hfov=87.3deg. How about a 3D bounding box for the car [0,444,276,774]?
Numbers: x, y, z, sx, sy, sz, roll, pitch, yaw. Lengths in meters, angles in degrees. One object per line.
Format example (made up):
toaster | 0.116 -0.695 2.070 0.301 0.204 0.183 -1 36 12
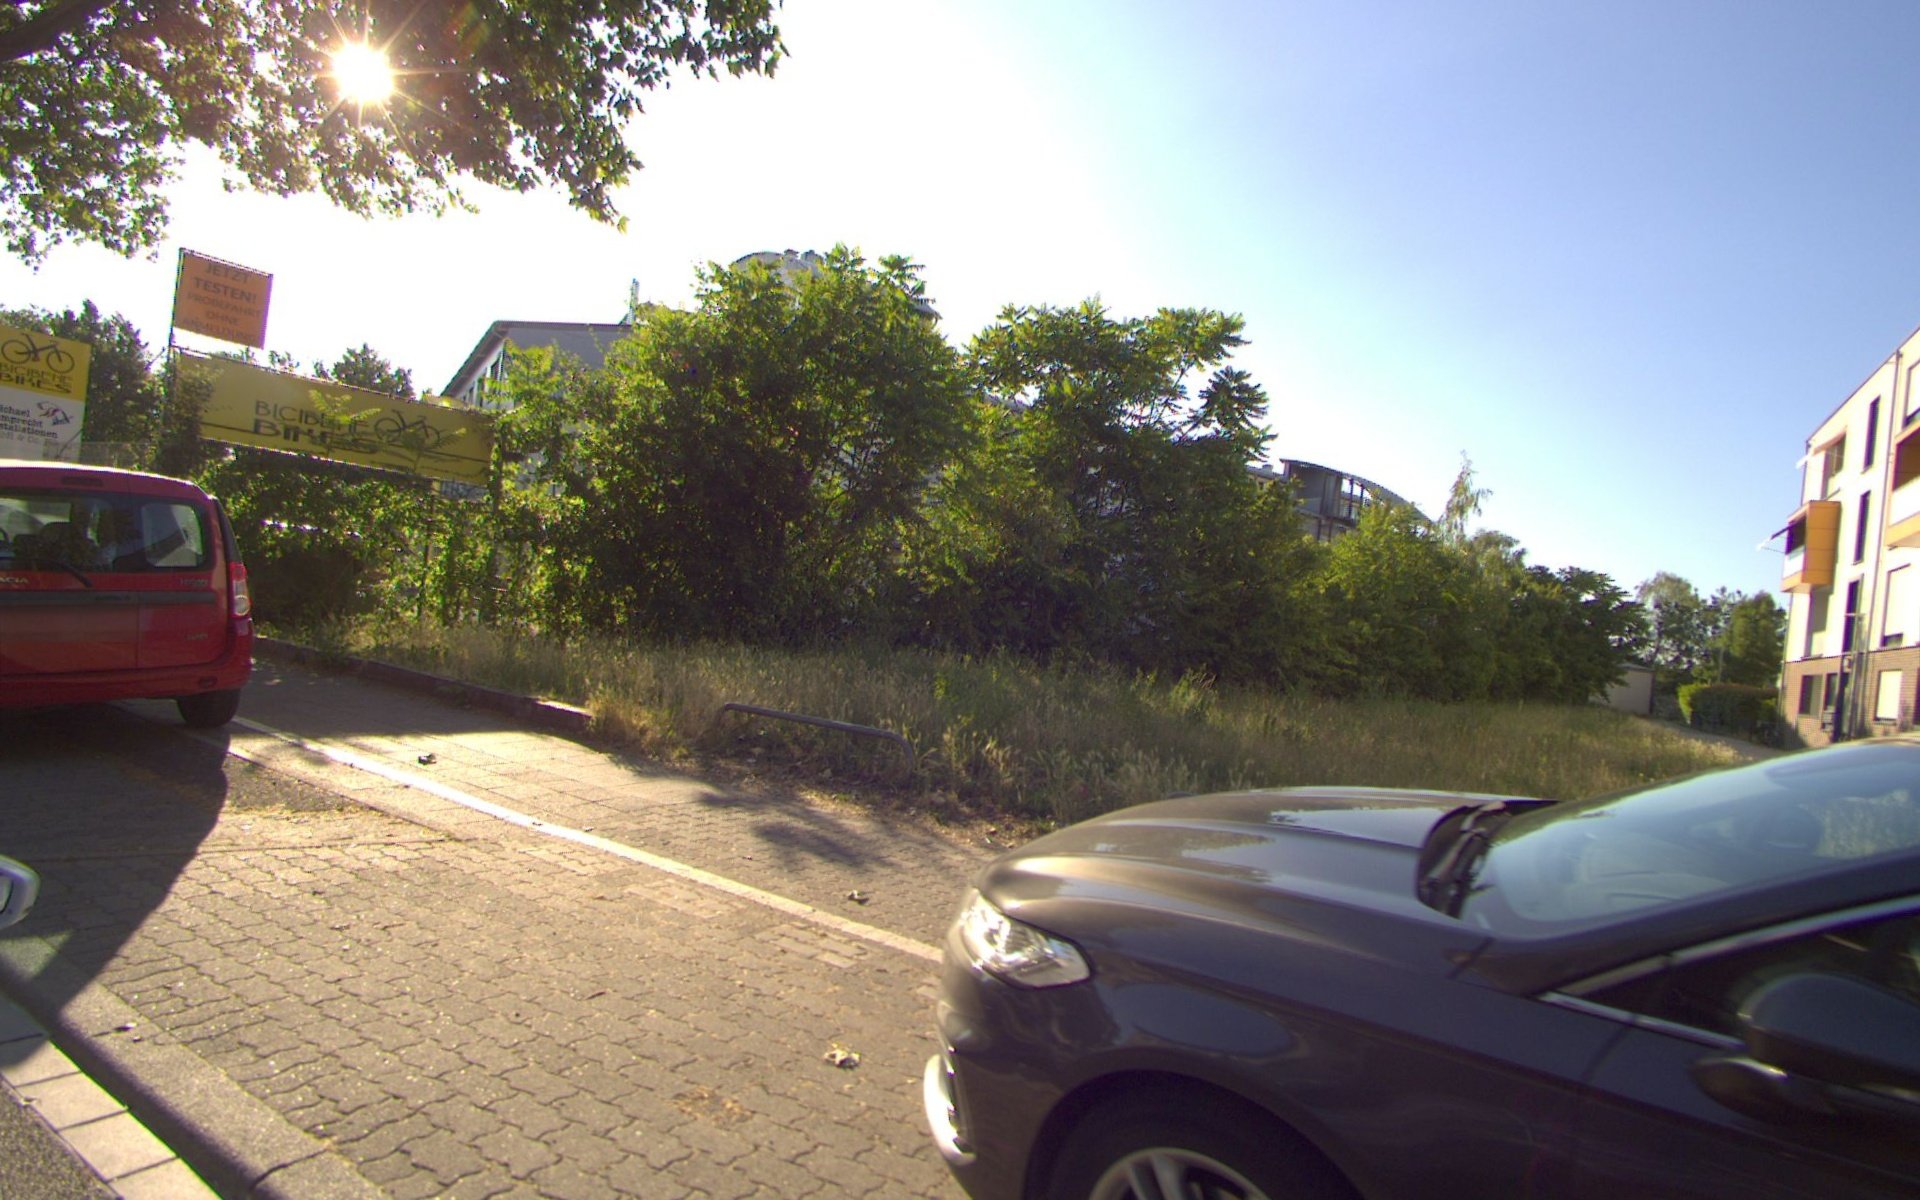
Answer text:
car | -6.528 -0.096 6.721 4.266 1.711 1.599 6 0 33

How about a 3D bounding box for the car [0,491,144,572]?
car | -22.252 -1.715 23.906 1.811 1.579 3.991 6 -1 33

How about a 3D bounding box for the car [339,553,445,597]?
car | -26.078 -1.126 46.218 3.964 1.593 1.891 6 -1 -37

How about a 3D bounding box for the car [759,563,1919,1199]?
car | 1.988 0.891 1.561 4.621 1.501 1.699 6 2 34
